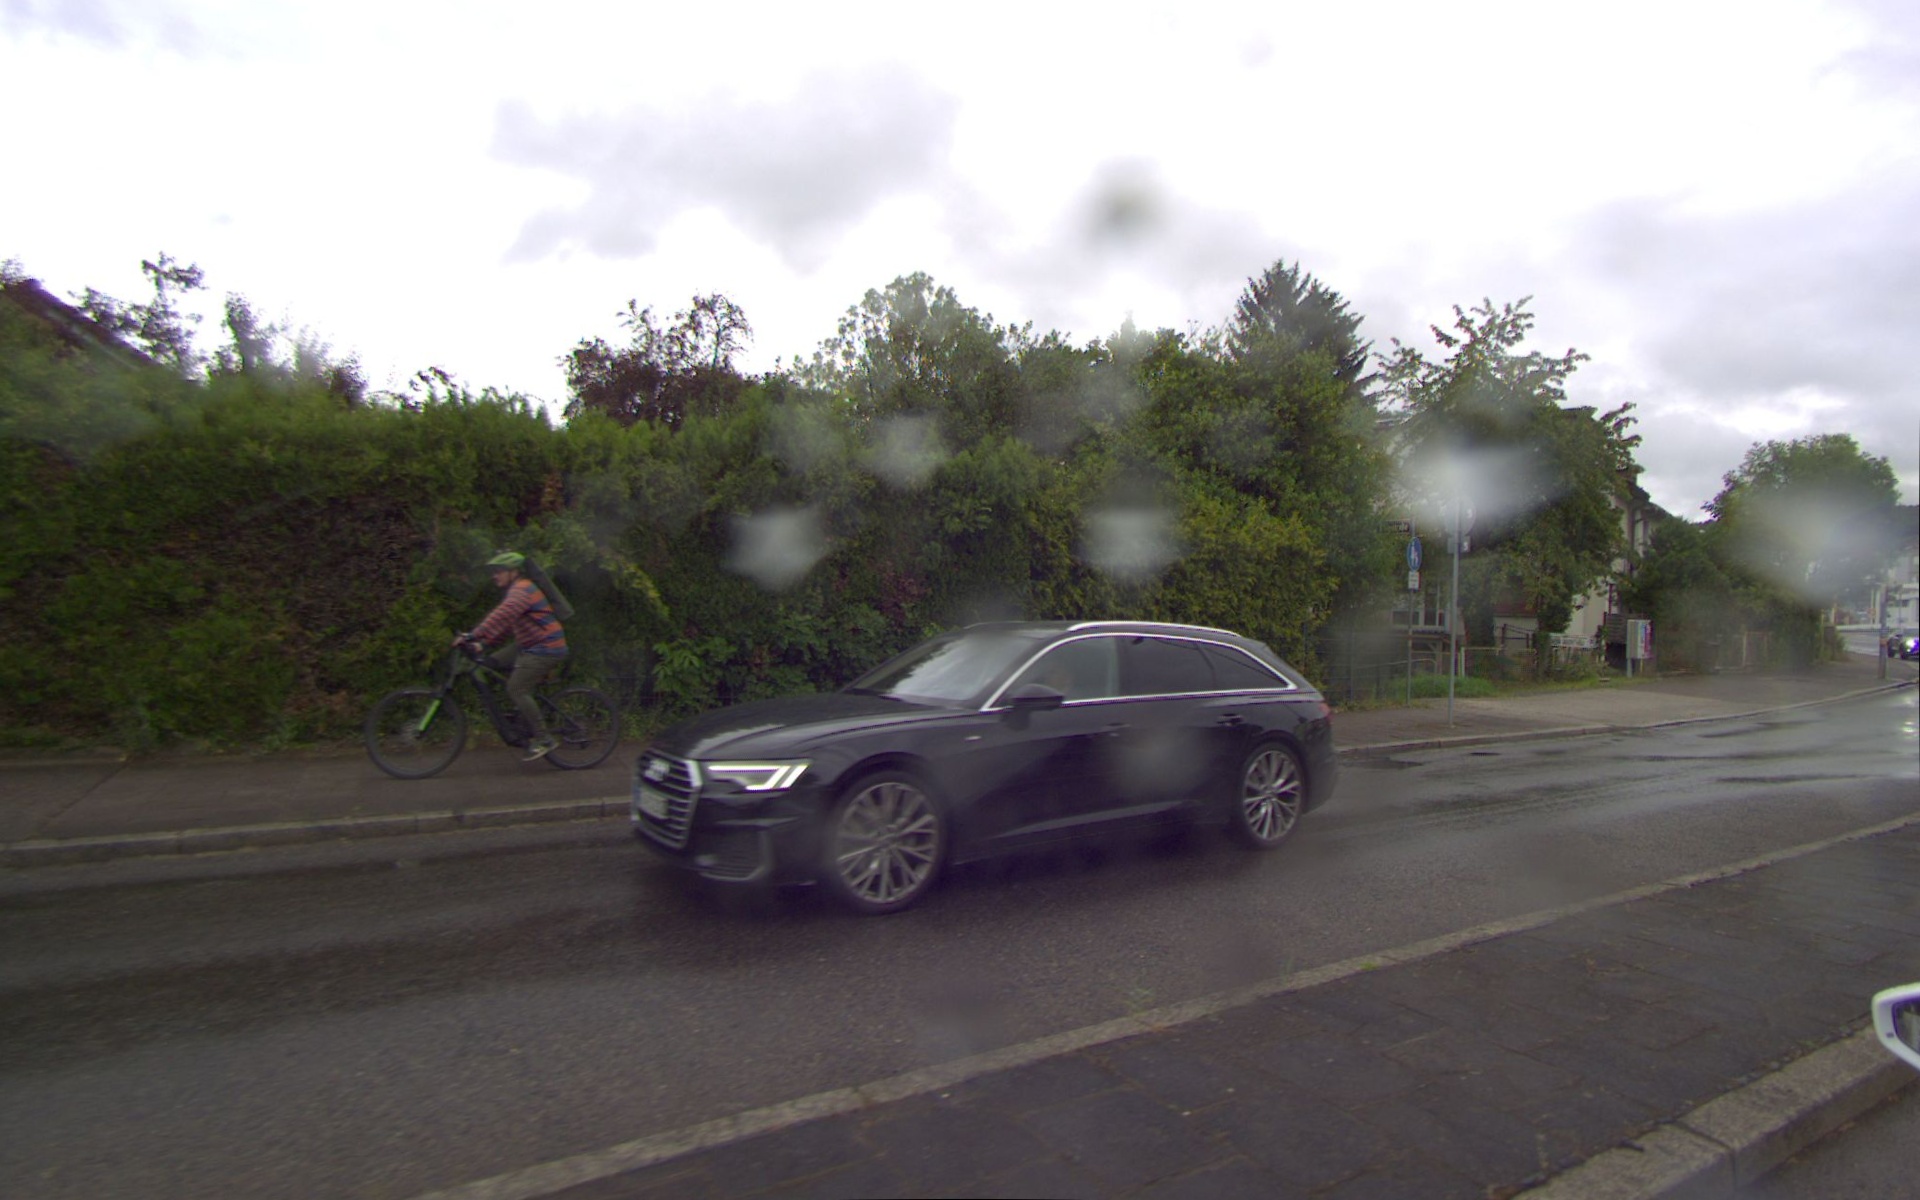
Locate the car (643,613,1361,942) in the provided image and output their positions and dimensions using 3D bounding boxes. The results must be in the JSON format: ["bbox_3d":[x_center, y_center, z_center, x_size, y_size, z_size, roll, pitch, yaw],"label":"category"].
[{"bbox_3d":[0.478,0.874,6.474,4.510,1.456,1.727,2,-2,-34],"label":"car"}]

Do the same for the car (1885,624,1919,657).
[{"bbox_3d":[48.073,2.031,50.525,1.598,1.602,3.764,-1,-3,33],"label":"car"}]

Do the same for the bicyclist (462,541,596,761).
[{"bbox_3d":[-3.444,0.380,8.009,0.858,1.633,0.760,1,1,-31],"label":"bicyclist"}]

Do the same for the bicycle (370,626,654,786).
[{"bbox_3d":[-3.538,0.795,7.987,1.967,1.101,0.743,2,1,-32],"label":"bicycle"}]
